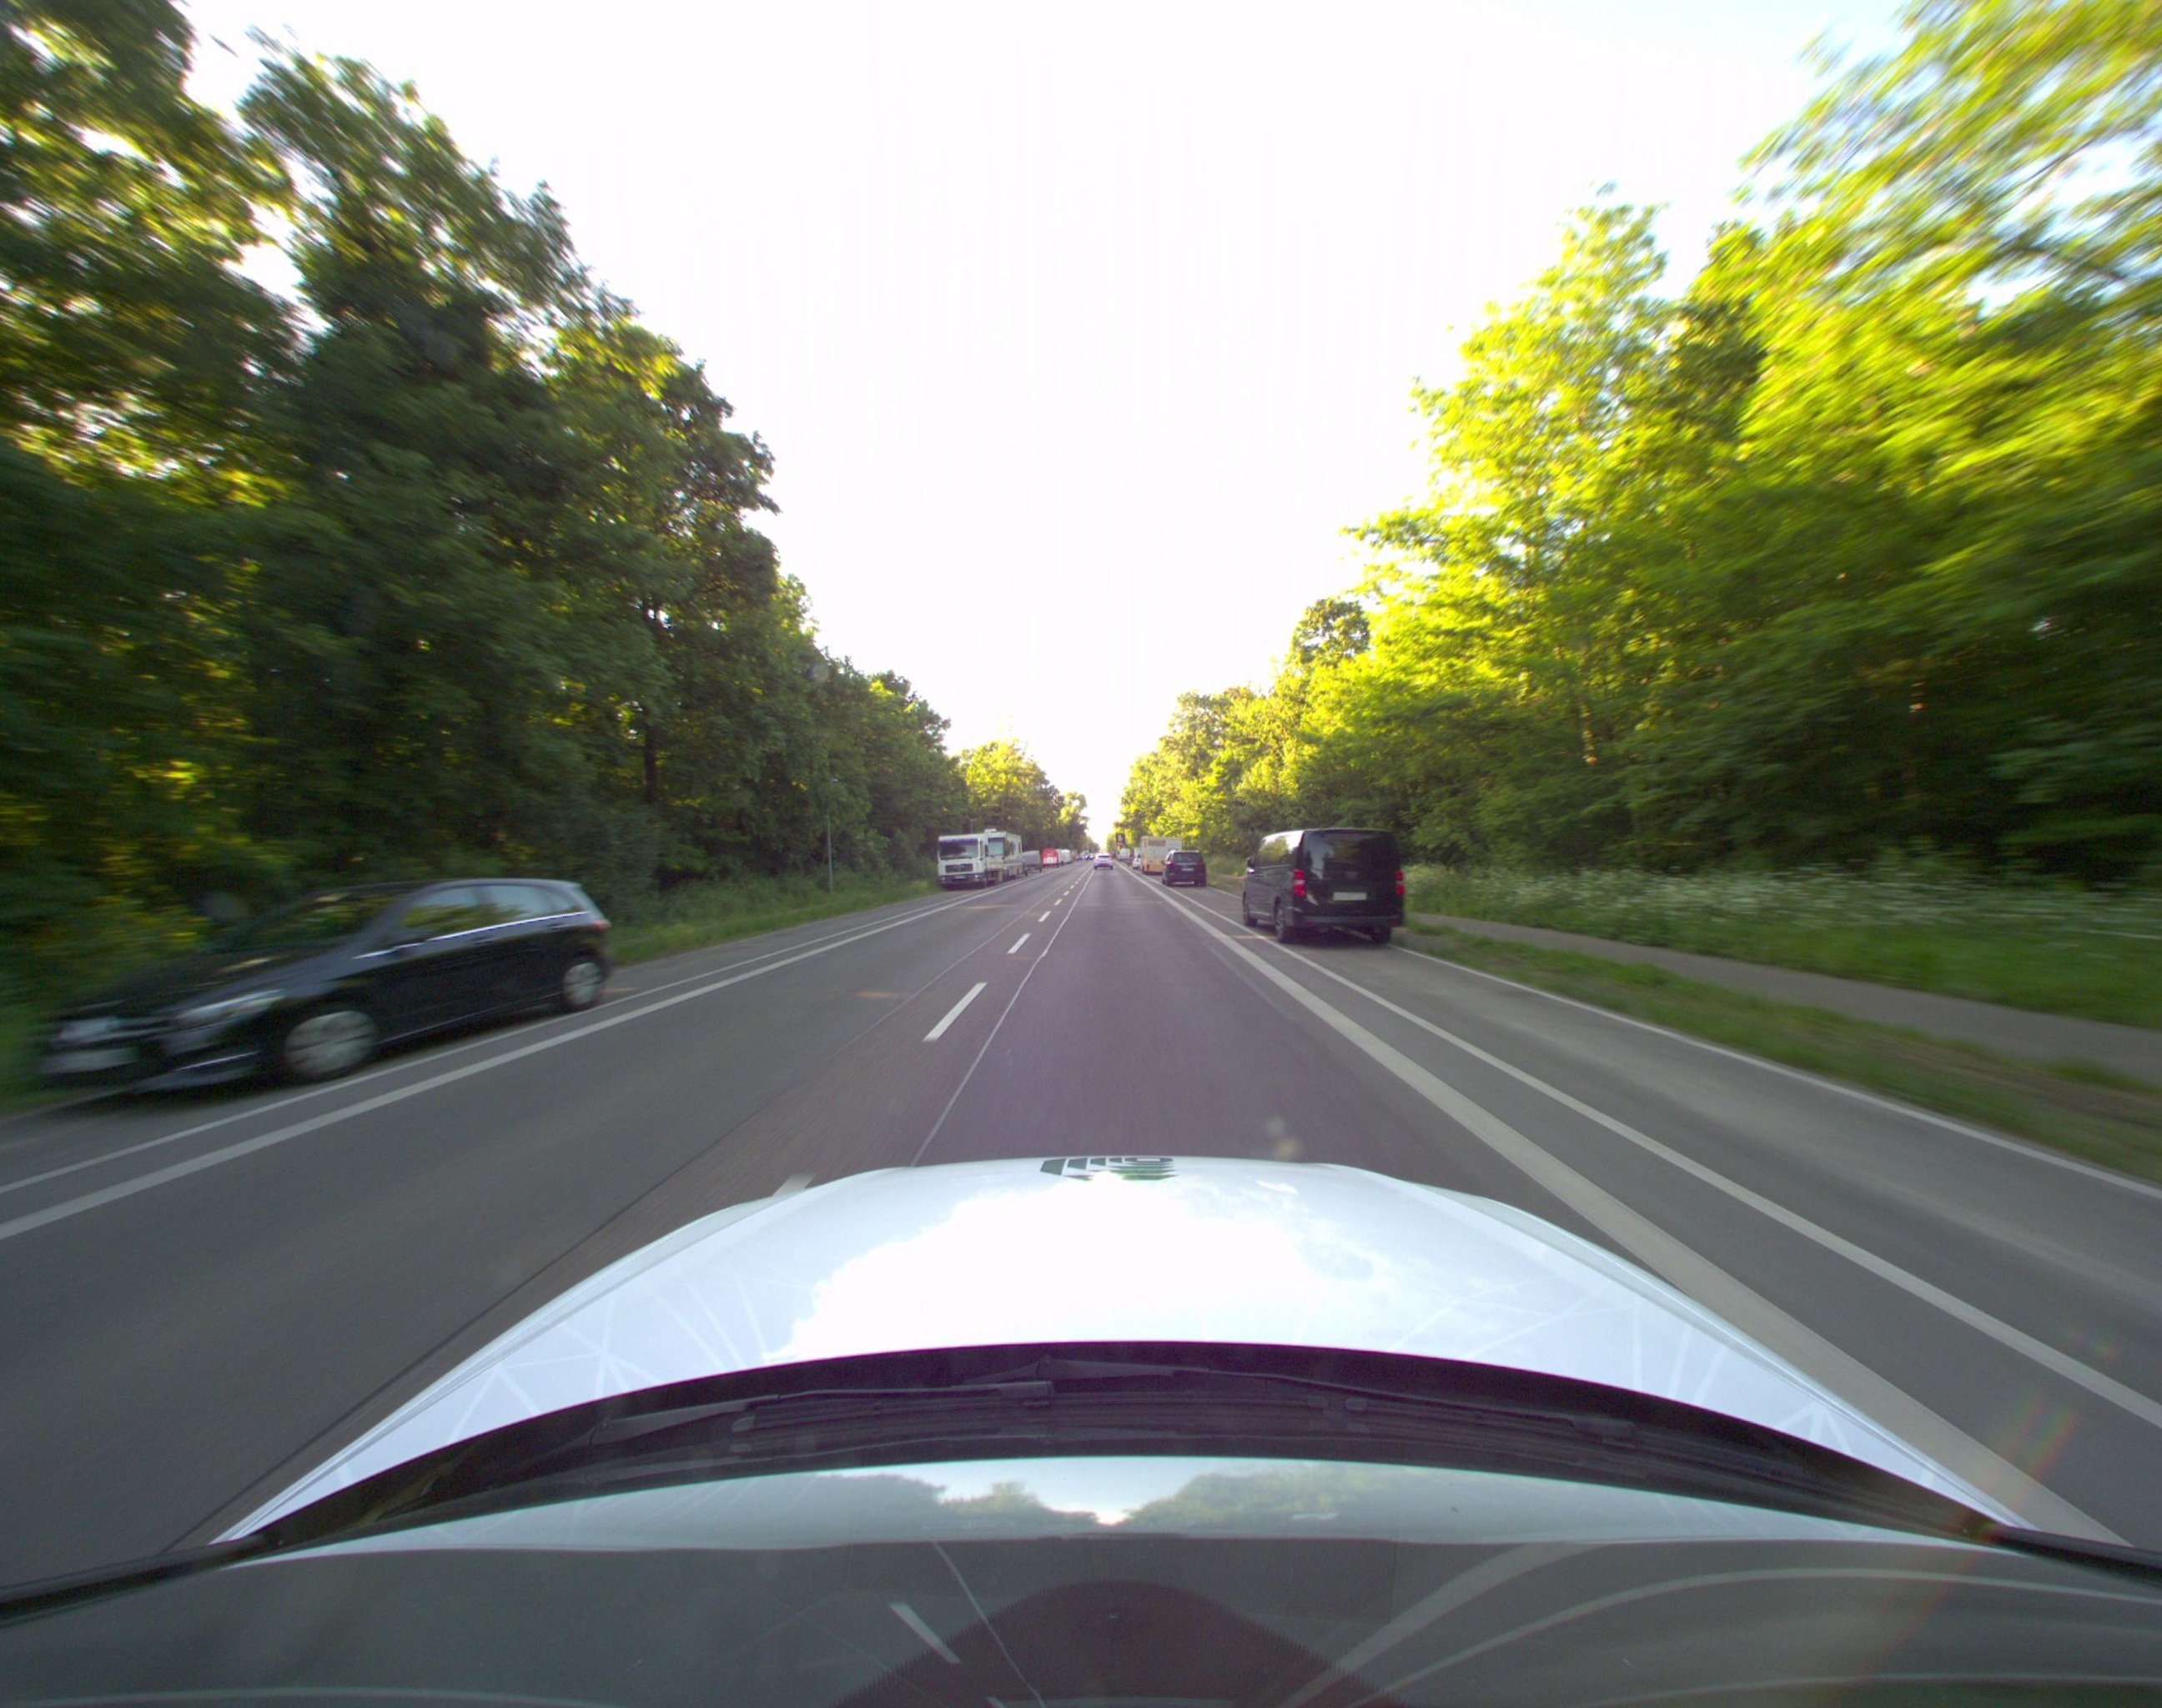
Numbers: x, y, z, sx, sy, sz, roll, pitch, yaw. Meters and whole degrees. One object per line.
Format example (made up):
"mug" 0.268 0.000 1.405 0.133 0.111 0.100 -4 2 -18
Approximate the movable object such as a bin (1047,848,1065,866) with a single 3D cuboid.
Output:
"movable object such as a bin" -3.587 0.412 117.697 2.313 2.501 4.001 -1 0 1

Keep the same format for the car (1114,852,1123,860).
"car" 7.887 0.415 171.330 1.650 1.478 3.755 -1 0 2

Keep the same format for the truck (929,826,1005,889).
"truck" -5.990 0.160 44.298 2.697 3.093 7.992 -1 0 2

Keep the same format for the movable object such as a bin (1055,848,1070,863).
"movable object such as a bin" -3.242 0.278 140.267 2.313 2.501 4.001 -1 0 1

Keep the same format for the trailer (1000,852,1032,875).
"trailer" -5.199 0.769 65.665 1.986 1.750 4.329 -1 0 2

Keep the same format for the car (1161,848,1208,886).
"car" 4.768 0.592 38.080 1.834 1.662 4.002 -1 0 2

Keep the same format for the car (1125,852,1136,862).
"car" 7.664 0.452 126.743 1.650 1.478 3.755 -1 0 2

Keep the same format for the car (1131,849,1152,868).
"car" 5.625 0.433 75.927 1.726 1.684 4.001 -1 0 2

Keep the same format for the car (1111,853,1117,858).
"car" 10.078 0.547 248.414 1.650 1.478 3.755 -1 0 2

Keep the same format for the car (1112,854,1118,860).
"car" 8.500 0.778 203.802 1.650 1.478 3.755 -1 0 2

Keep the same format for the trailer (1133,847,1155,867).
"trailer" 6.404 0.267 82.600 1.986 1.969 4.001 -1 0 2

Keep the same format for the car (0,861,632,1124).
"car" -6.592 0.982 7.760 1.772 1.684 4.385 -3 0 6

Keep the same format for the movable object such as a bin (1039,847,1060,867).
"movable object such as a bin" -3.994 0.391 103.348 2.313 2.501 4.001 -1 0 1

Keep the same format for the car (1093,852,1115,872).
"car" 2.215 0.723 79.269 2.021 1.840 4.031 -2 0 2

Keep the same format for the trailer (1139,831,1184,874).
"trailer" 5.817 -0.105 59.916 2.747 2.870 6.591 -1 0 2

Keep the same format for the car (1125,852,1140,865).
"car" 6.025 0.478 95.847 1.650 1.478 3.755 -1 0 2

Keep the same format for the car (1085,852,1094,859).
"car" 2.075 0.343 198.974 1.986 1.677 4.001 -3 0 2

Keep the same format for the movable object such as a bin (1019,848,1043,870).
"movable object such as a bin" -4.790 0.494 79.001 1.946 2.013 4.001 -1 0 2

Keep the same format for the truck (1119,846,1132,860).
"truck" 8.228 -0.140 150.794 2.089 2.452 5.682 -1 0 2

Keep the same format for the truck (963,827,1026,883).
"truck" -5.683 0.060 55.662 2.697 3.347 10.928 -1 0 2

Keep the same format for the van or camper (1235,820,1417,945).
"van or camper" 4.296 0.435 15.231 1.986 1.932 5.201 0 0 2
